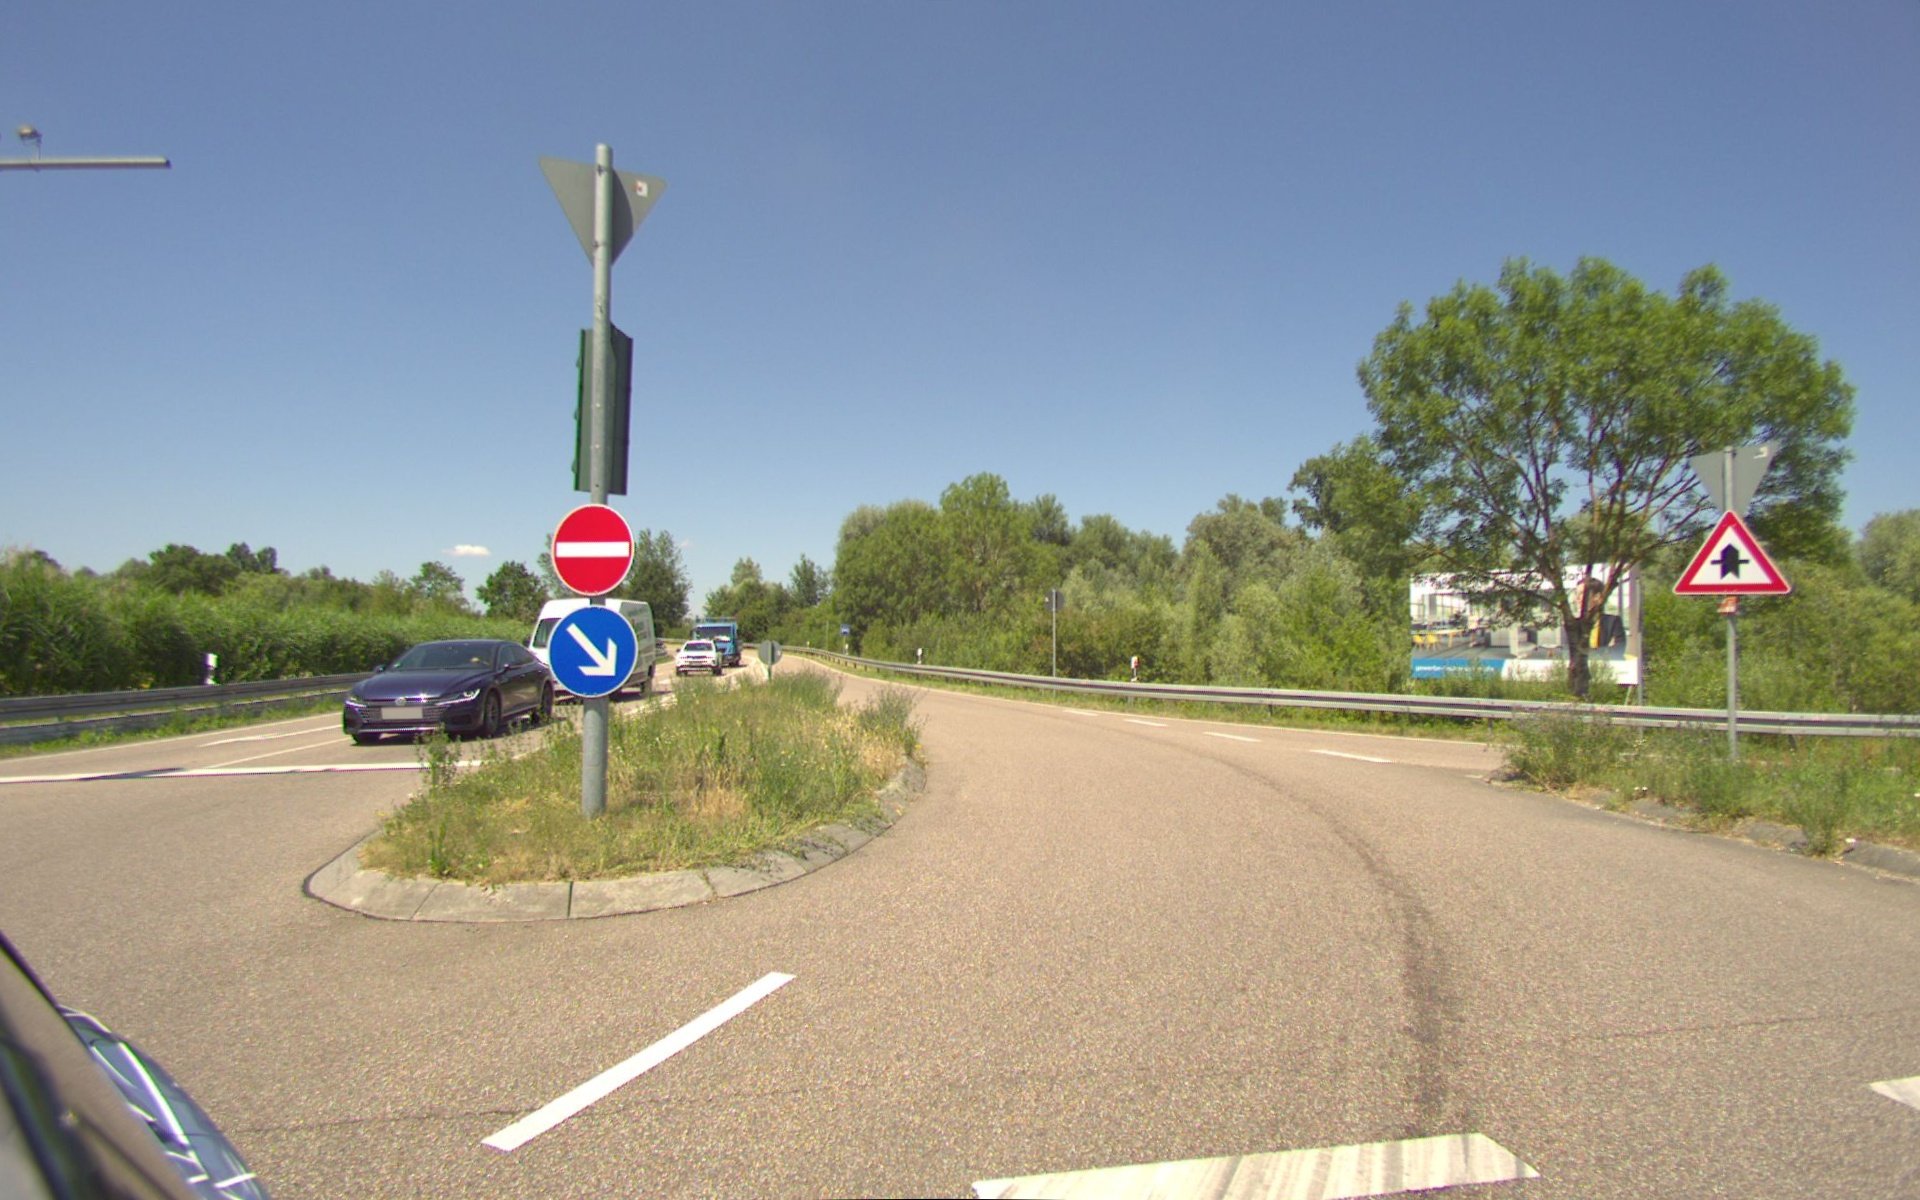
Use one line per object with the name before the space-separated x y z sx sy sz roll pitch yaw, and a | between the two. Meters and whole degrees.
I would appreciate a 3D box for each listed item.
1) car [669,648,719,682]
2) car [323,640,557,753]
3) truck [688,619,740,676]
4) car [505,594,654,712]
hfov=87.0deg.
car | -11.614 2.826 44.387 1.694 1.446 3.966 1 -3 -8
car | -7.636 1.355 15.401 1.819 1.434 4.571 0 -3 -9
truck | -14.874 2.917 61.742 2.651 3.220 9.196 1 -3 -11
car | -9.109 1.291 24.853 2.194 2.514 5.992 -1 -3 -8
